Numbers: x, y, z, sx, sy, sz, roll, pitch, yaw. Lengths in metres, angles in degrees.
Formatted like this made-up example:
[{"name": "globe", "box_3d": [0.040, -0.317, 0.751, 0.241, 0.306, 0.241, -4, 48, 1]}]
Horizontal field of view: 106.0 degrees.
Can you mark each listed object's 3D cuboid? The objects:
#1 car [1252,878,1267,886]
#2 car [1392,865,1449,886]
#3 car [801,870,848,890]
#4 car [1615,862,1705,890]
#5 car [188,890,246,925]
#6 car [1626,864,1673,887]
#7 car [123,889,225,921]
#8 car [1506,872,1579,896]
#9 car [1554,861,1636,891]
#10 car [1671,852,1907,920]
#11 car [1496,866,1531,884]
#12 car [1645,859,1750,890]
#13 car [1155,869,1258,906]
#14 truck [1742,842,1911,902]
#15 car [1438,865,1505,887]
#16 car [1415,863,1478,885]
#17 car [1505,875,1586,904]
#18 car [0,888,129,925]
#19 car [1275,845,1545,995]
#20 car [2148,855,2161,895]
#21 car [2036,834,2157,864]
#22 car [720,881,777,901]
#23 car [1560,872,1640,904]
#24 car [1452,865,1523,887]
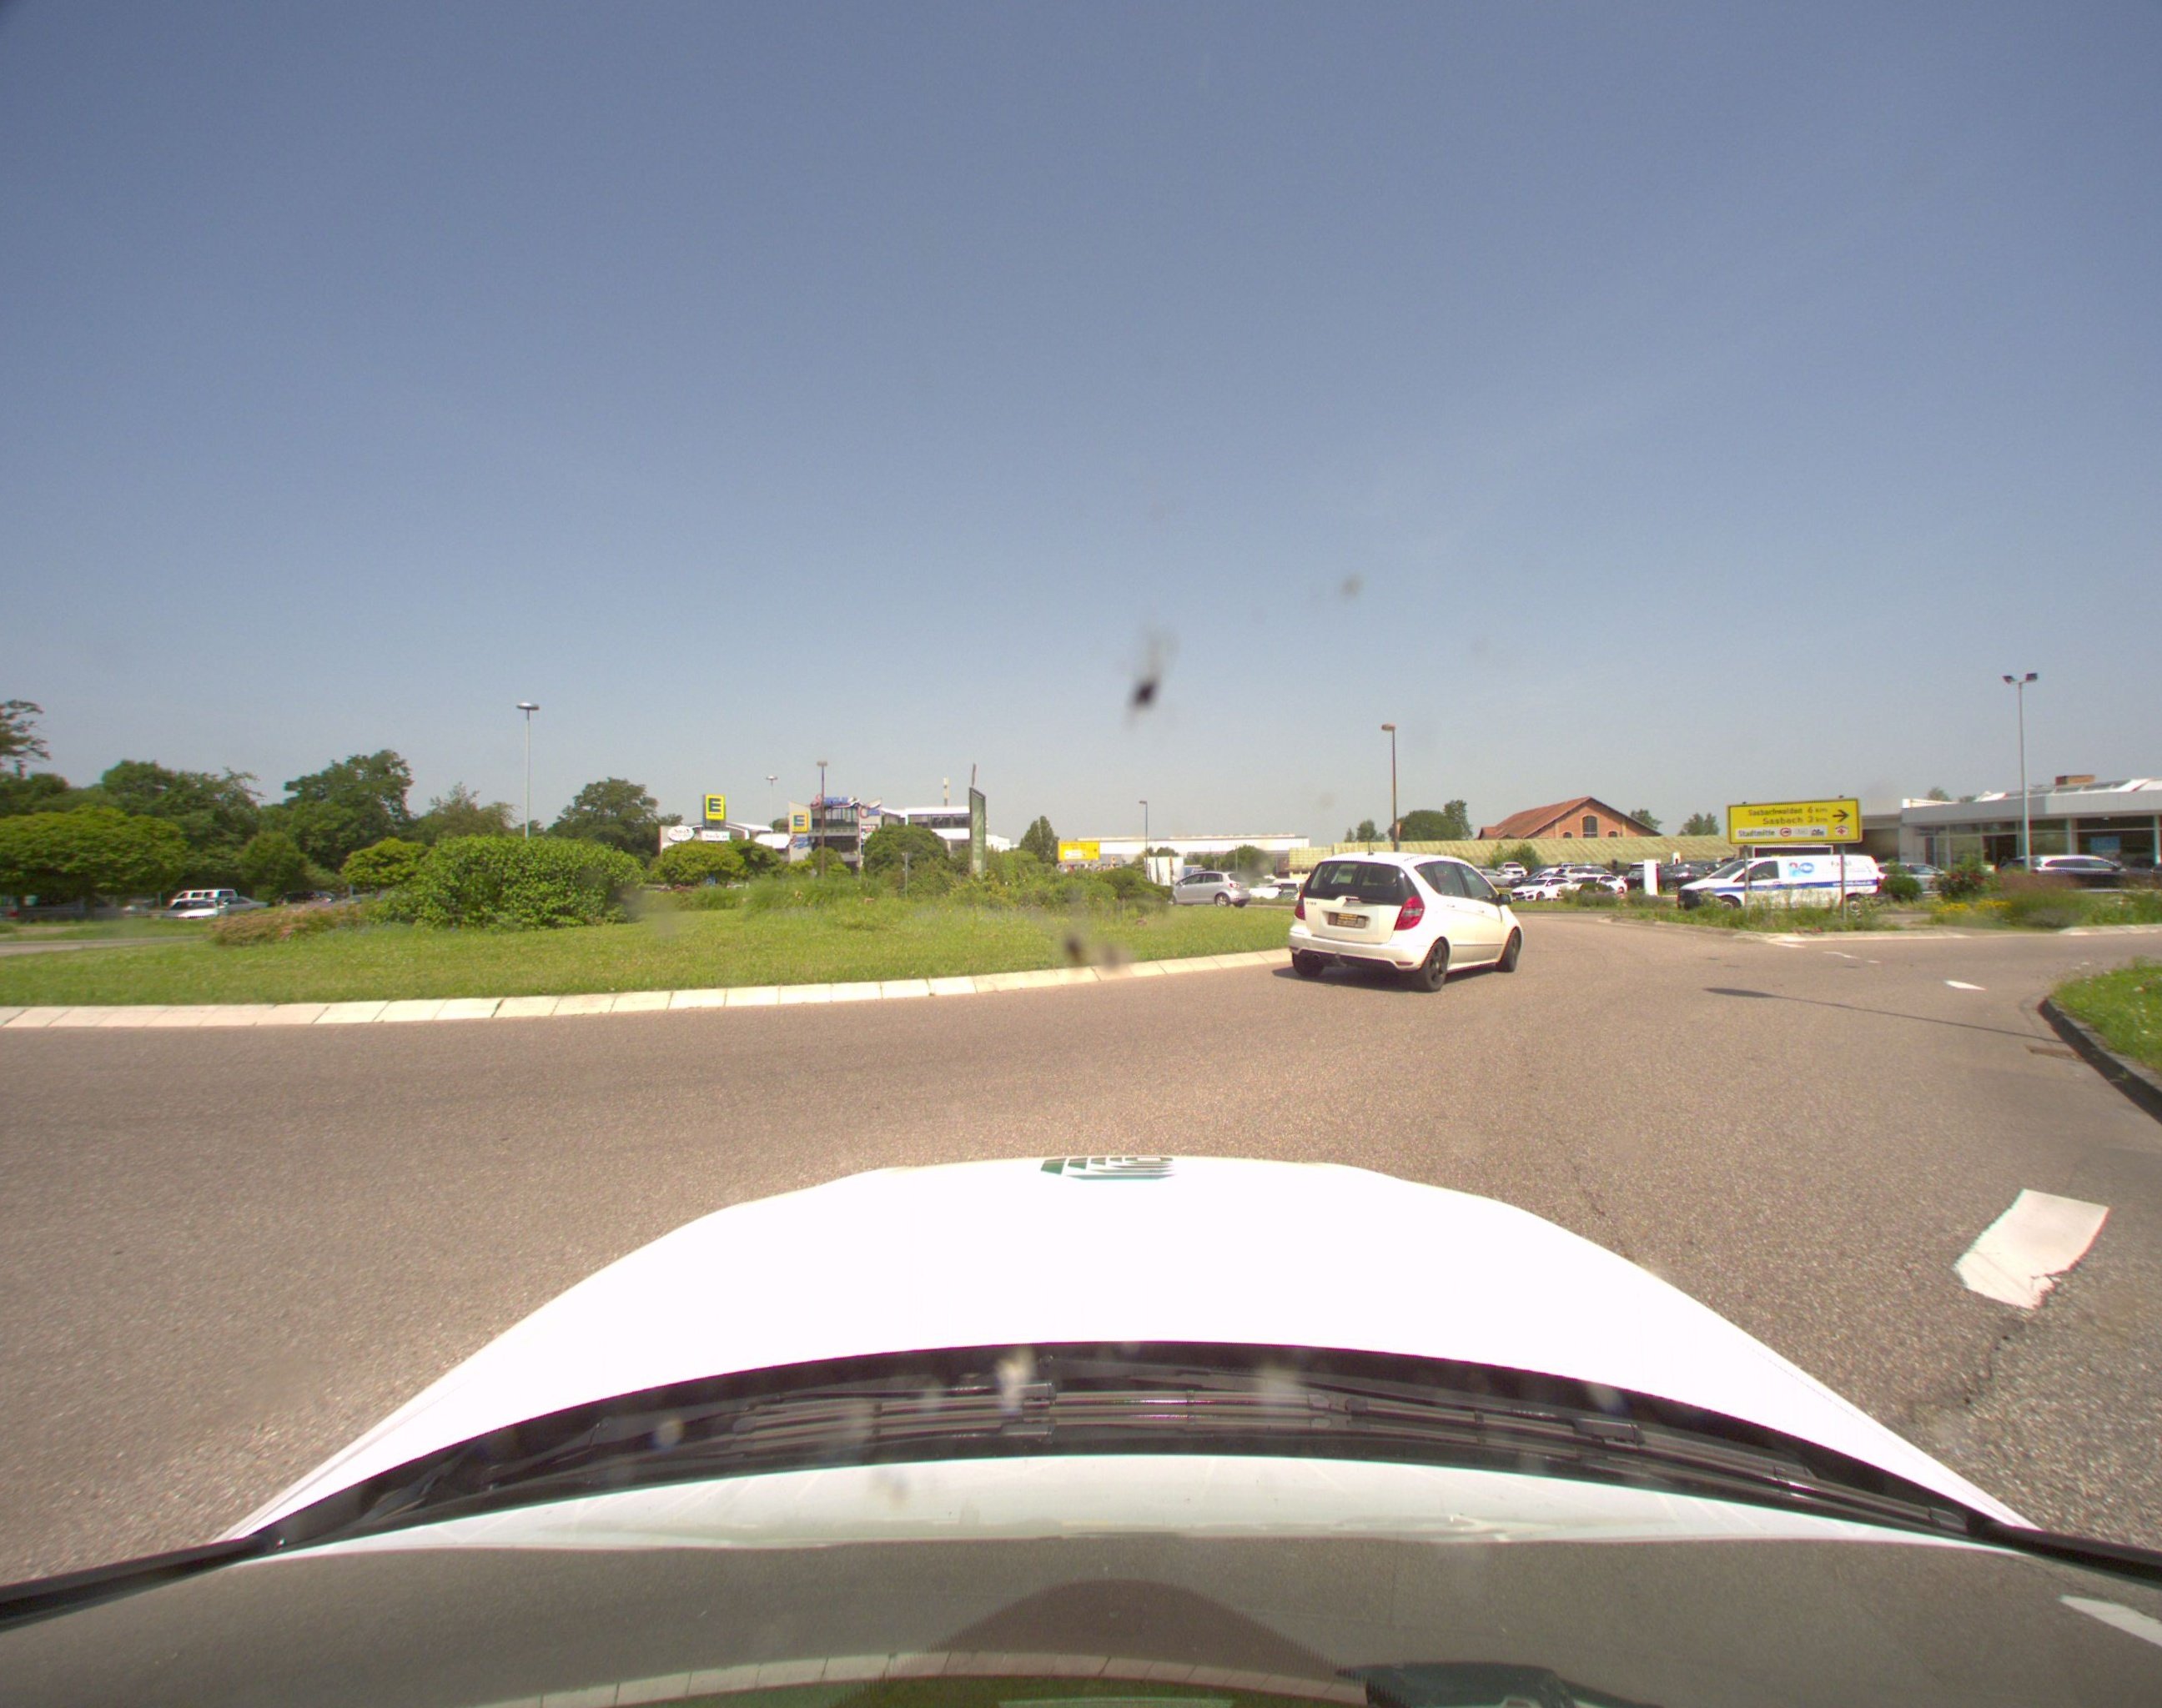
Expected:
[{"name": "car", "box_3d": [33.559, 5.273, 153.059, 1.975, 1.398, 4.022, 0, -3, 24]}, {"name": "car", "box_3d": [30.141, 1.894, 72.438, 4.423, 1.747, 1.845, -1, -2, 12]}, {"name": "car", "box_3d": [-21.005, 2.115, 66.721, 3.289, 1.574, 1.561, -1, -3, 13]}, {"name": "car", "box_3d": [35.377, 1.360, 49.872, 3.968, 1.500, 1.956, -3, -1, 12]}, {"name": "car", "box_3d": [-40.276, 2.446, 37.936, 4.507, 1.498, 1.595, -1, -3, 41]}, {"name": "car", "box_3d": [41.255, 1.547, 59.058, 4.289, 1.586, 1.638, 0, -2, -39]}, {"name": "car", "box_3d": [-44.275, 2.479, 39.825, 2.834, 1.498, 1.575, 2, -3, -18]}, {"name": "car", "box_3d": [31.362, 2.014, 55.433, 3.963, 1.526, 1.958, -2, -2, 18]}, {"name": "car", "box_3d": [33.178, 1.432, 52.676, 3.968, 1.750, 1.956, -3, -2, 12]}, {"name": "car", "box_3d": [21.706, 0.970, 25.240, 5.171, 1.938, 1.869, 0, -3, 18]}, {"name": "car", "box_3d": [40.136, 1.986, 75.620, 1.902, 1.596, 4.320, -2, -2, 15]}, {"name": "car", "box_3d": [35.759, 1.205, 47.383, 4.382, 1.500, 1.956, -4, -3, 12]}, {"name": "car", "box_3d": [5.440, 1.425, 35.245, 4.034, 1.530, 1.795, -1, -3, 27]}, {"name": "truck", "box_3d": [35.328, 0.874, 38.817, 5.564, 2.665, 1.958, -2, -2, 18]}, {"name": "car", "box_3d": [30.742, 1.748, 64.215, 4.423, 1.635, 1.956, -1, -2, 12]}, {"name": "car", "box_3d": [30.184, 1.677, 67.367, 4.423, 1.747, 1.956, -1, -2, 12]}, {"name": "car", "box_3d": [28.149, 2.165, 49.377, 4.580, 1.571, 1.755, -1, -3, -22]}, {"name": "car", "box_3d": [-46.428, 2.322, 36.750, 1.867, 1.562, 4.397, 1, -2, -5]}, {"name": "car", "box_3d": [4.426, 0.710, 10.678, 3.914, 1.603, 1.765, 0, 0, -42]}, {"name": "car", "box_3d": [42.562, 0.717, 29.587, 4.321, 1.513, 1.921, -3, -2, 45]}, {"name": "car", "box_3d": [59.062, -0.282, 47.457, 3.995, 1.586, 1.918, -2, -2, 18]}, {"name": "car", "box_3d": [-28.082, 3.118, 68.766, 3.959, 1.574, 2.007, -1, -3, 13]}, {"name": "car", "box_3d": [30.188, 1.964, 47.354, 4.677, 1.570, 1.752, -3, -1, -28]}, {"name": "car", "box_3d": [30.797, 1.674, 61.834, 4.423, 1.500, 1.956, -1, -2, 12]}]
